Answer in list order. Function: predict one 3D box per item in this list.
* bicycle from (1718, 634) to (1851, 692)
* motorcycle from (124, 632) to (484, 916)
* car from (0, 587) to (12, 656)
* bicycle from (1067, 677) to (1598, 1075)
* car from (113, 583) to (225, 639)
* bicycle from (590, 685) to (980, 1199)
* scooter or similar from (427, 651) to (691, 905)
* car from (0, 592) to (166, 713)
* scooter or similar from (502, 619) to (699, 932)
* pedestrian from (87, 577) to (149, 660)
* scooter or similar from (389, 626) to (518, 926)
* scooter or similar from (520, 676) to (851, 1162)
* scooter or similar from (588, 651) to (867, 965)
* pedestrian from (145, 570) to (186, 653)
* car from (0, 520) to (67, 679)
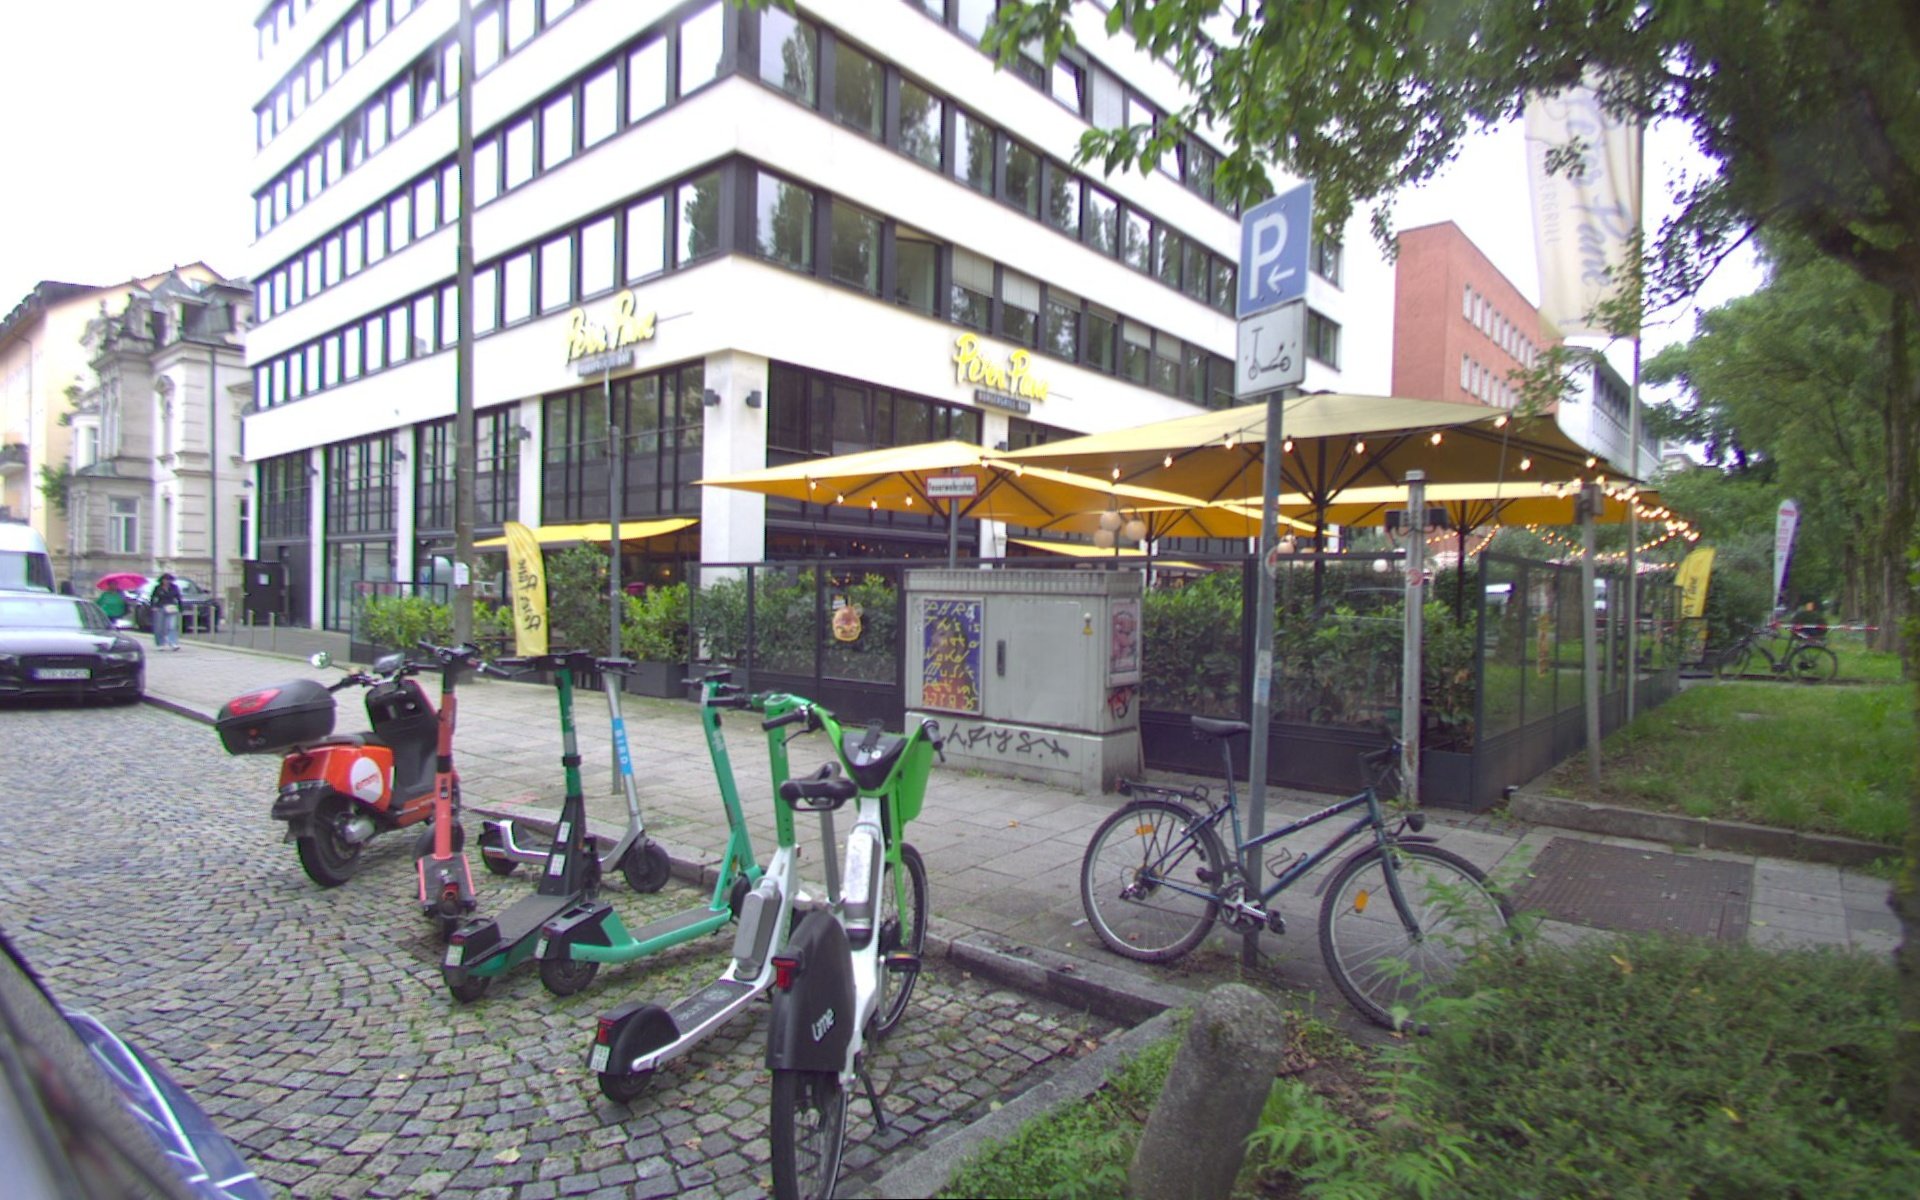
[{"bbox_3d":[14.664,1.101,18.057,1.800,0.919,0.612,1,0,39],"label":"bicycle"},{"bbox_3d":[-3.433,0.821,5.573,0.759,1.205,1.992,1,0,-3],"label":"motorcycle"},{"bbox_3d":[-22.119,0.416,21.953,4.000,1.441,1.972,1,0,43],"label":"car"},{"bbox_3d":[1.291,0.873,3.756,1.761,1.030,0.546,1,0,39],"label":"bicycle"},{"bbox_3d":[-23.830,0.287,30.427,4.167,1.544,1.888,1,0,41],"label":"car"},{"bbox_3d":[-0.347,0.905,2.899,0.548,1.151,1.758,1,0,9],"label":"bicycle"},{"bbox_3d":[-2.055,0.882,5.218,1.237,1.189,0.389,1,0,9],"label":"scooter or similar"},{"bbox_3d":[-12.106,0.590,13.253,4.115,1.340,1.973,1,0,41],"label":"car"},{"bbox_3d":[-1.682,0.751,4.895,0.324,1.282,1.247,1,0,9],"label":"scooter or similar"},{"bbox_3d":[-18.026,0.385,21.668,0.800,1.719,0.916,1,0,43],"label":"pedestrian"},{"bbox_3d":[-2.554,0.801,5.192,0.322,1.282,1.362,1,0,-16],"label":"scooter or similar"},{"bbox_3d":[-0.815,0.888,3.381,0.366,1.152,1.422,1,0,16],"label":"scooter or similar"},{"bbox_3d":[-0.977,0.829,4.469,0.327,1.152,1.234,1,0,41],"label":"scooter or similar"},{"bbox_3d":[-17.271,0.247,21.994,0.650,1.761,0.568,1,0,40],"label":"pedestrian"},{"bbox_3d":[-17.626,-0.052,17.748,5.843,2.509,2.039,1,0,39],"label":"car"}]
